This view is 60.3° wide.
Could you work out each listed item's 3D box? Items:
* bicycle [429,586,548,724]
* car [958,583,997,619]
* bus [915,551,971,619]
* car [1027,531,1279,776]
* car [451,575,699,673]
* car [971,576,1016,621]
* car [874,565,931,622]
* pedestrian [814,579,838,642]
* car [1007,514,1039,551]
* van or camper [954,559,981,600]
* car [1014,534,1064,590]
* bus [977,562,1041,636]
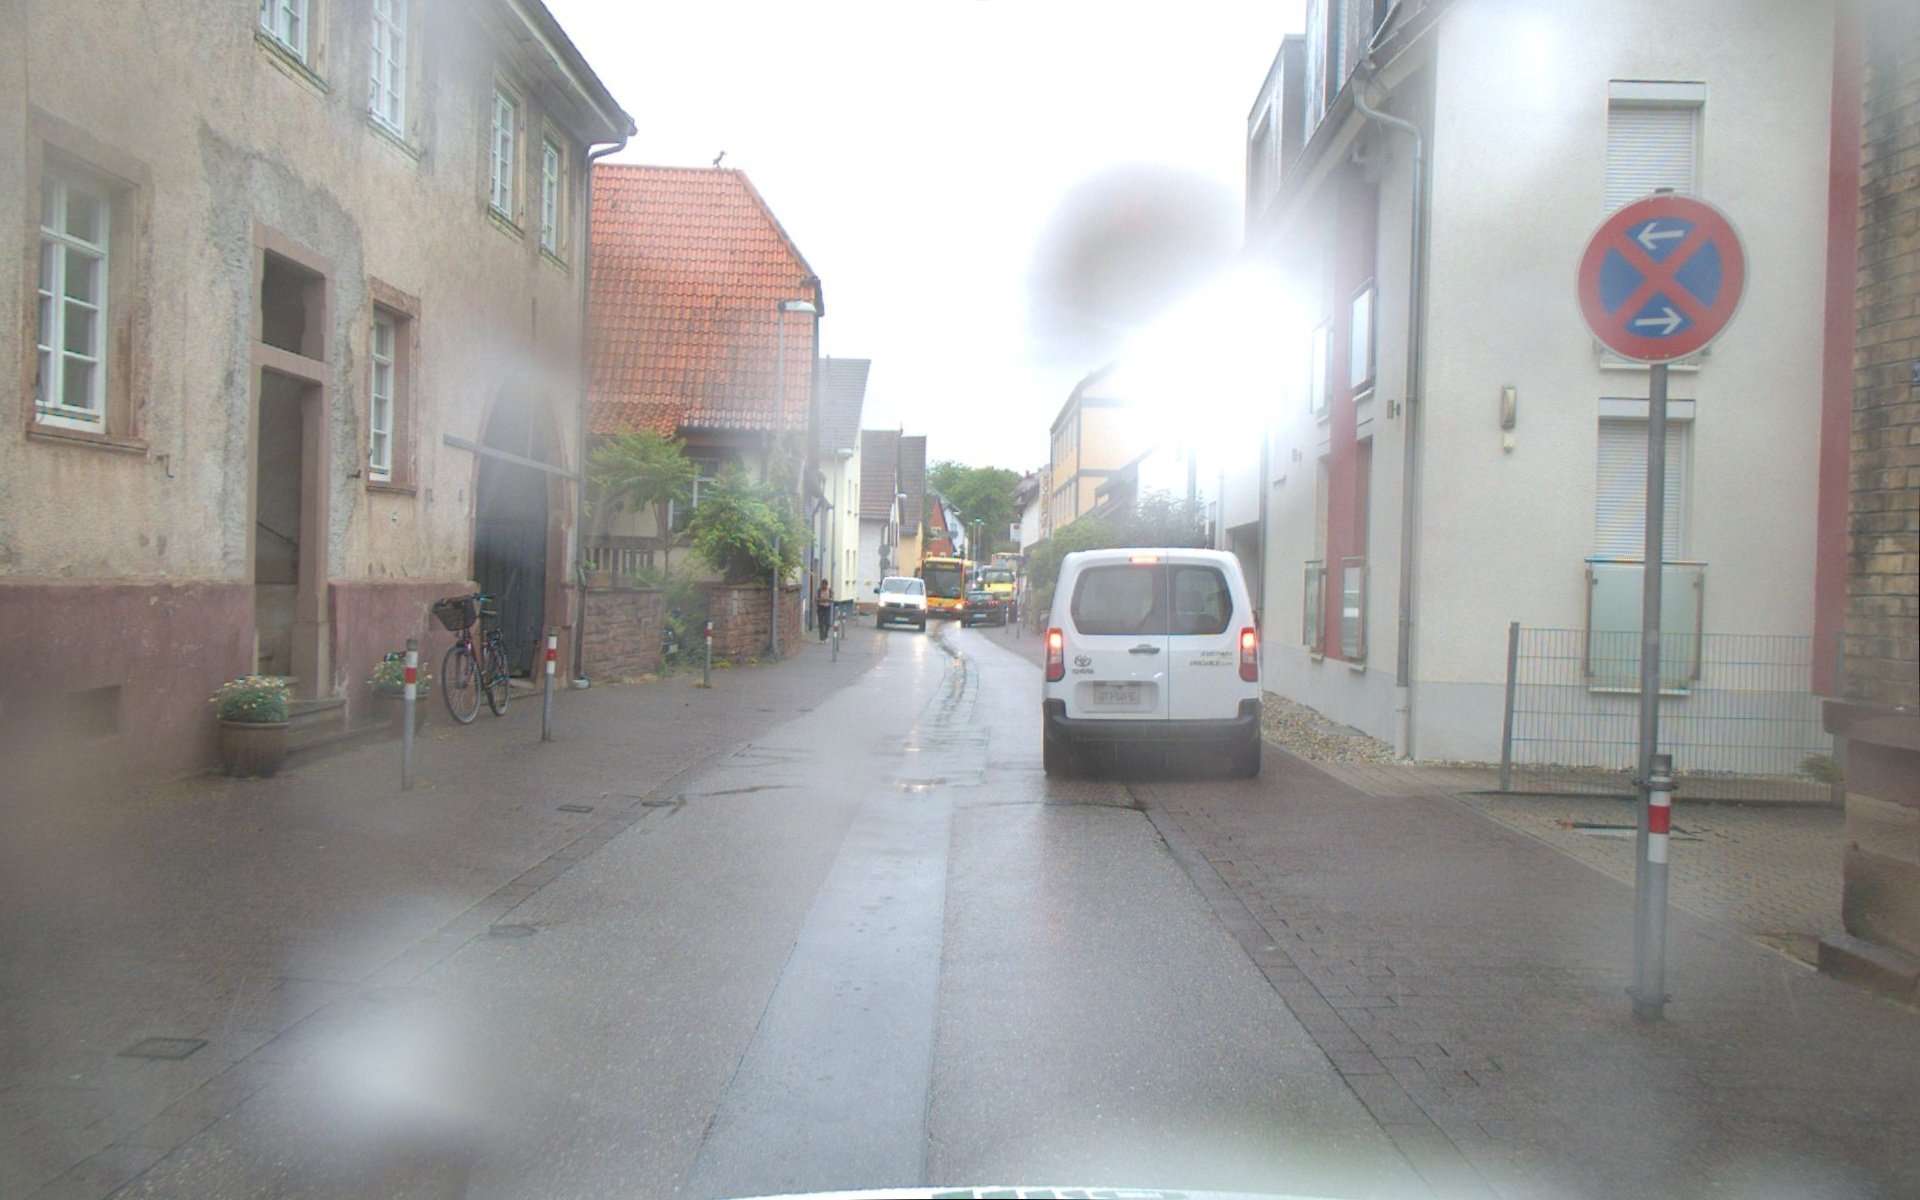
[{"bbox_3d":[-4.435,0.495,15.670,0.473,1.200,1.836,3,0,2],"label":"bicycle"},{"bbox_3d":[0.762,0.036,69.521,1.529,1.395,3.585,3,0,1],"label":"car"},{"bbox_3d":[-0.857,-0.783,90.955,2.736,3.387,8.178,3,0,0],"label":"bus"},{"bbox_3d":[1.540,0.409,14.532,1.758,1.850,4.101,0,0,0],"label":"car"},{"bbox_3d":[-6.015,0.363,26.054,3.454,1.400,1.595,2,0,3],"label":"car"},{"bbox_3d":[1.234,-0.047,60.488,1.529,1.506,3.585,3,0,1],"label":"car"},{"bbox_3d":[-2.122,-0.218,62.578,1.853,2.001,4.723,3,0,1],"label":"car"},{"bbox_3d":[-3.328,0.263,41.115,0.557,1.557,0.568,0,0,-9],"label":"pedestrian"},{"bbox_3d":[3.999,-4.257,105.139,1.952,2.049,4.001,3,0,2],"label":"car"},{"bbox_3d":[0.604,-1.548,126.064,1.797,2.976,5.364,3,0,2],"label":"van or camper"},{"bbox_3d":[3.126,-1.474,66.064,1.790,2.049,3.694,3,0,0],"label":"car"},{"bbox_3d":[2.305,-0.011,80.014,2.736,3.235,8.178,3,0,0],"label":"bus"}]
